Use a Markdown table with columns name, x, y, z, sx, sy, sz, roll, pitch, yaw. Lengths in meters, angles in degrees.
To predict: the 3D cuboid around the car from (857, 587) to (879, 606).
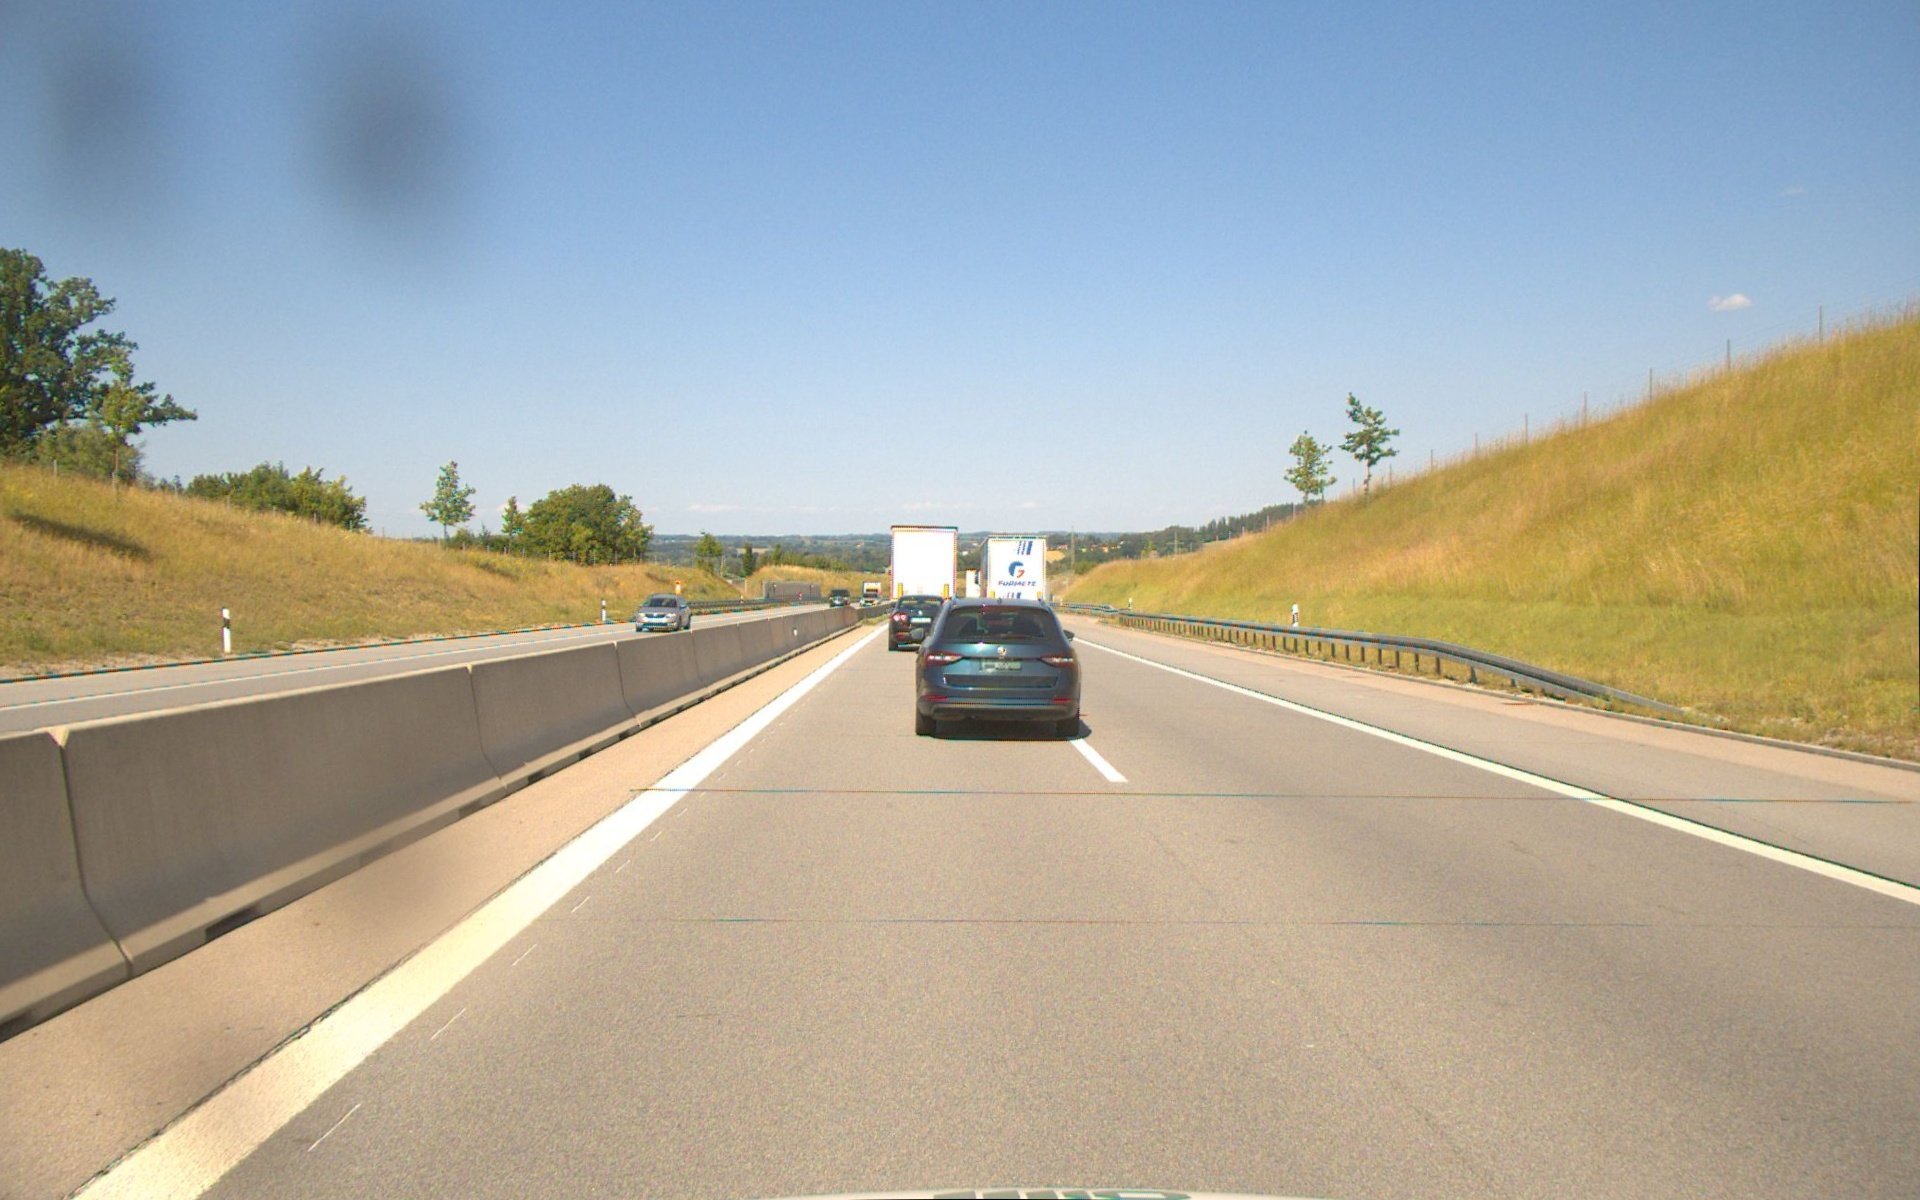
| name | x | y | z | sx | sy | sz | roll | pitch | yaw |
| --- | --- | --- | --- | --- | --- | --- | --- | --- | --- |
| car | -8.705 | -0.322 | 157.327 | 1.892 | 1.762 | 4.885 | 1 | 0 | -1 |

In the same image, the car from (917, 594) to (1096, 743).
| name | x | y | z | sx | sy | sz | roll | pitch | yaw |
| --- | --- | --- | --- | --- | --- | --- | --- | --- | --- |
| car | 0.418 | 0.686 | 18.459 | 1.741 | 1.466 | 3.787 | 1 | 0 | -2 |

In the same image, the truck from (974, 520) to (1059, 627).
| name | x | y | z | sx | sy | sz | roll | pitch | yaw |
| --- | --- | --- | --- | --- | --- | --- | --- | --- | --- |
| truck | 2.552 | -1.188 | 76.394 | 3.530 | 4.457 | 11.235 | -2 | 0 | 1 |

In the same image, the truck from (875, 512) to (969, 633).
| name | x | y | z | sx | sy | sz | roll | pitch | yaw |
| --- | --- | --- | --- | --- | --- | --- | --- | --- | --- |
| truck | -1.408 | -1.083 | 68.326 | 3.144 | 4.457 | 11.236 | -2 | 0 | 2 |

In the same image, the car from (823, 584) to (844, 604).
| name | x | y | z | sx | sy | sz | roll | pitch | yaw |
| --- | --- | --- | --- | --- | --- | --- | --- | --- | --- |
| car | -13.193 | -0.606 | 172.696 | 1.953 | 2.049 | 4.969 | 1 | 0 | -1 |

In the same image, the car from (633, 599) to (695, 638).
| name | x | y | z | sx | sy | sz | roll | pitch | yaw |
| --- | --- | --- | --- | --- | --- | --- | --- | --- | --- |
| car | -12.038 | 0.735 | 67.562 | 1.767 | 1.497 | 4.526 | 0 | 0 | -1 |

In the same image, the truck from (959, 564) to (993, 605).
| name | x | y | z | sx | sy | sz | roll | pitch | yaw |
| --- | --- | --- | --- | --- | --- | --- | --- | --- | --- |
| truck | 1.895 | -1.761 | 188.413 | 3.530 | 4.457 | 11.235 | -2 | 0 | 1 |

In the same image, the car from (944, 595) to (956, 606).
| name | x | y | z | sx | sy | sz | roll | pitch | yaw |
| --- | --- | --- | --- | --- | --- | --- | --- | --- | --- |
| car | -1.402 | 0.082 | 227.732 | 1.665 | 1.466 | 4.000 | 0 | 0 | 0 |

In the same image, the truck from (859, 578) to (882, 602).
| name | x | y | z | sx | sy | sz | roll | pitch | yaw |
| --- | --- | --- | --- | --- | --- | --- | --- | --- | --- |
| truck | -11.822 | -1.340 | 219.567 | 2.718 | 3.074 | 6.791 | 0 | 0 | -1 |

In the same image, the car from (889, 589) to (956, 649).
| name | x | y | z | sx | sy | sz | roll | pitch | yaw |
| --- | --- | --- | --- | --- | --- | --- | --- | --- | --- |
| car | -1.031 | 0.475 | 44.321 | 1.666 | 1.466 | 3.998 | -2 | 0 | -2 |
